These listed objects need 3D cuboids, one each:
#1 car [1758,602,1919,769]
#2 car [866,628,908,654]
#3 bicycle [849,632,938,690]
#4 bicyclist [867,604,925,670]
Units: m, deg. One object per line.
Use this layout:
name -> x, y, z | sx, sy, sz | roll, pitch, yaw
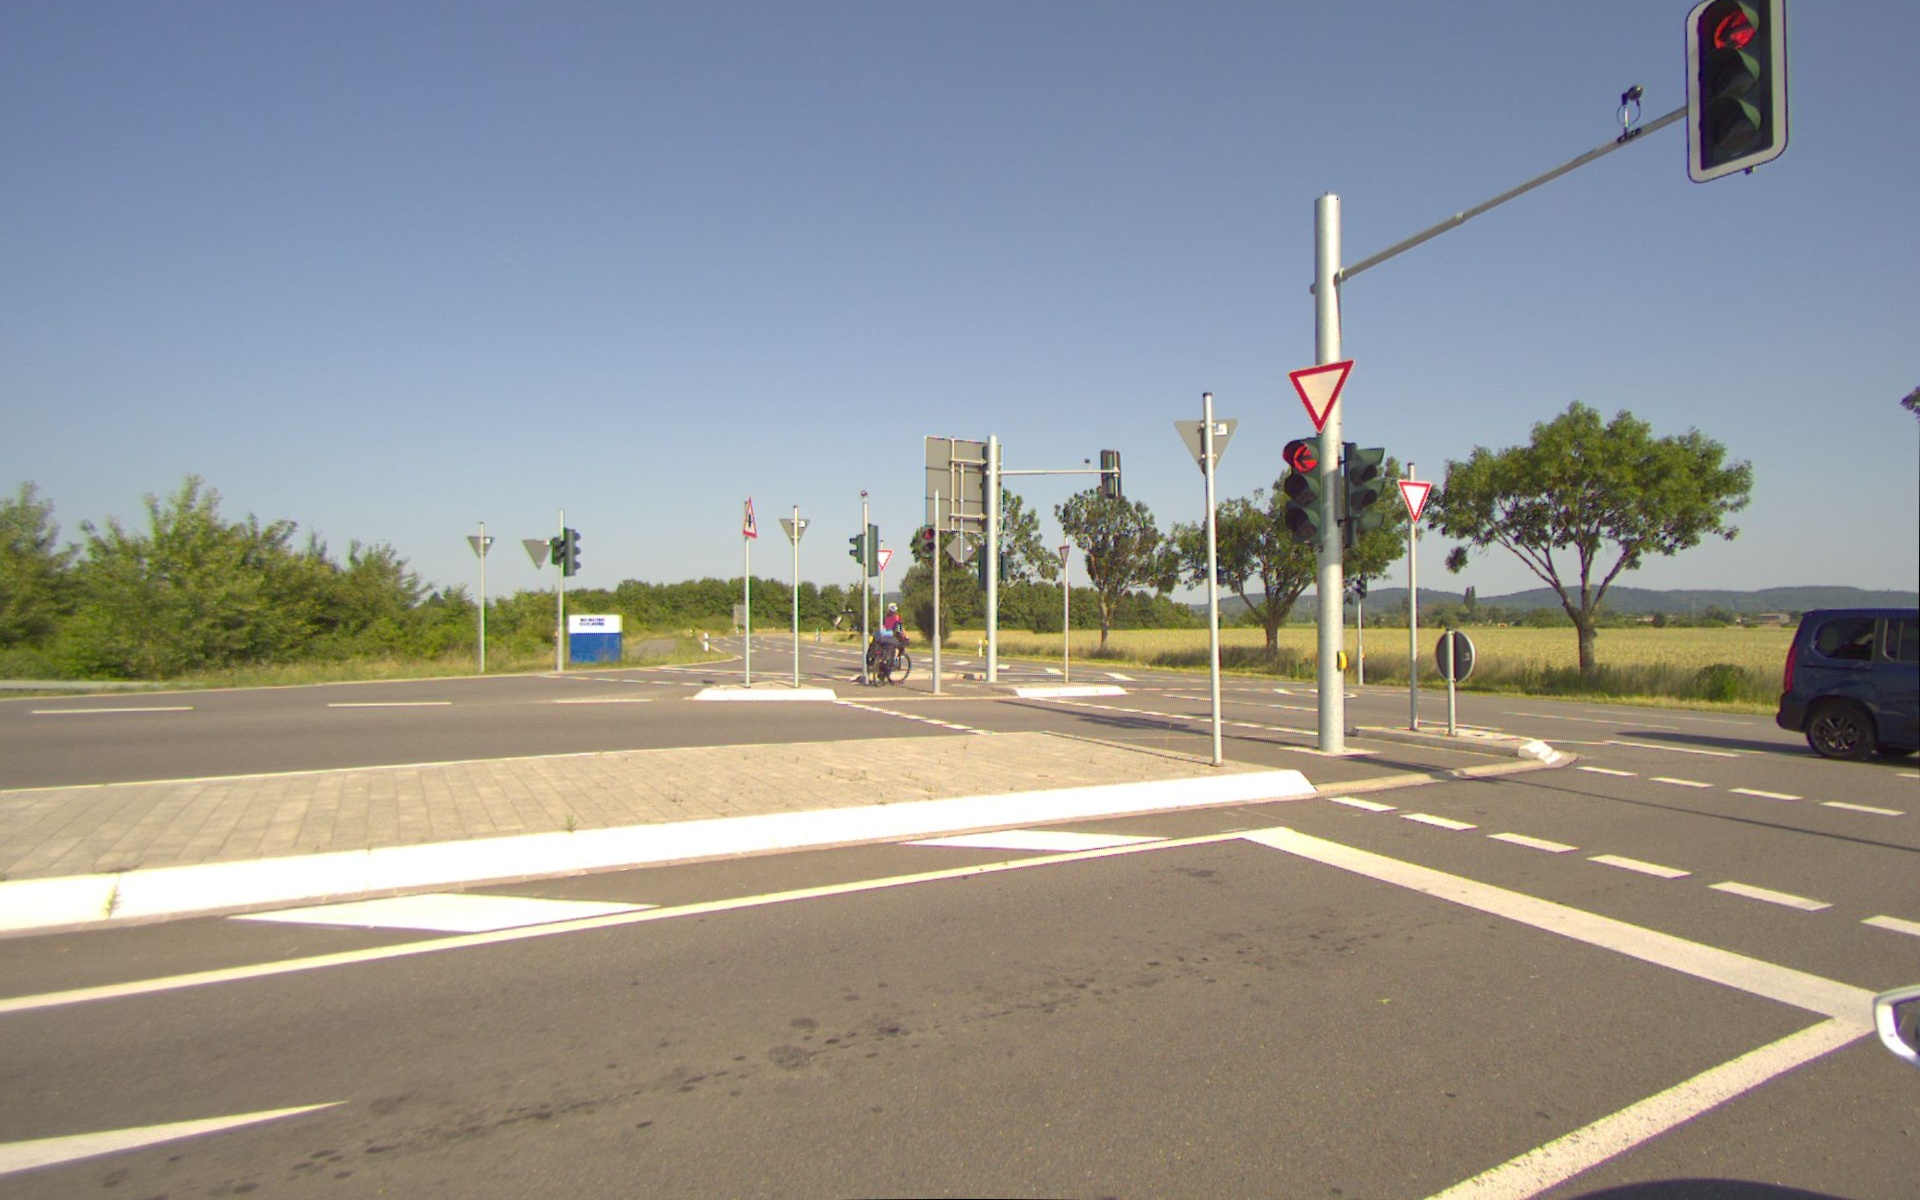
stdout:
car -> 11.835, 0.983, 11.052 | 1.823, 1.858, 4.435 | 2, -2, -28
car -> -4.740, 2.607, 64.867 | 1.705, 1.544, 3.450 | 2, -1, -23
bicycle -> -1.412, 1.300, 21.851 | 1.053, 1.164, 2.150 | 1, -1, 22
bicyclist -> -1.386, 0.793, 21.900 | 0.842, 1.369, 1.074 | 1, -1, 22
